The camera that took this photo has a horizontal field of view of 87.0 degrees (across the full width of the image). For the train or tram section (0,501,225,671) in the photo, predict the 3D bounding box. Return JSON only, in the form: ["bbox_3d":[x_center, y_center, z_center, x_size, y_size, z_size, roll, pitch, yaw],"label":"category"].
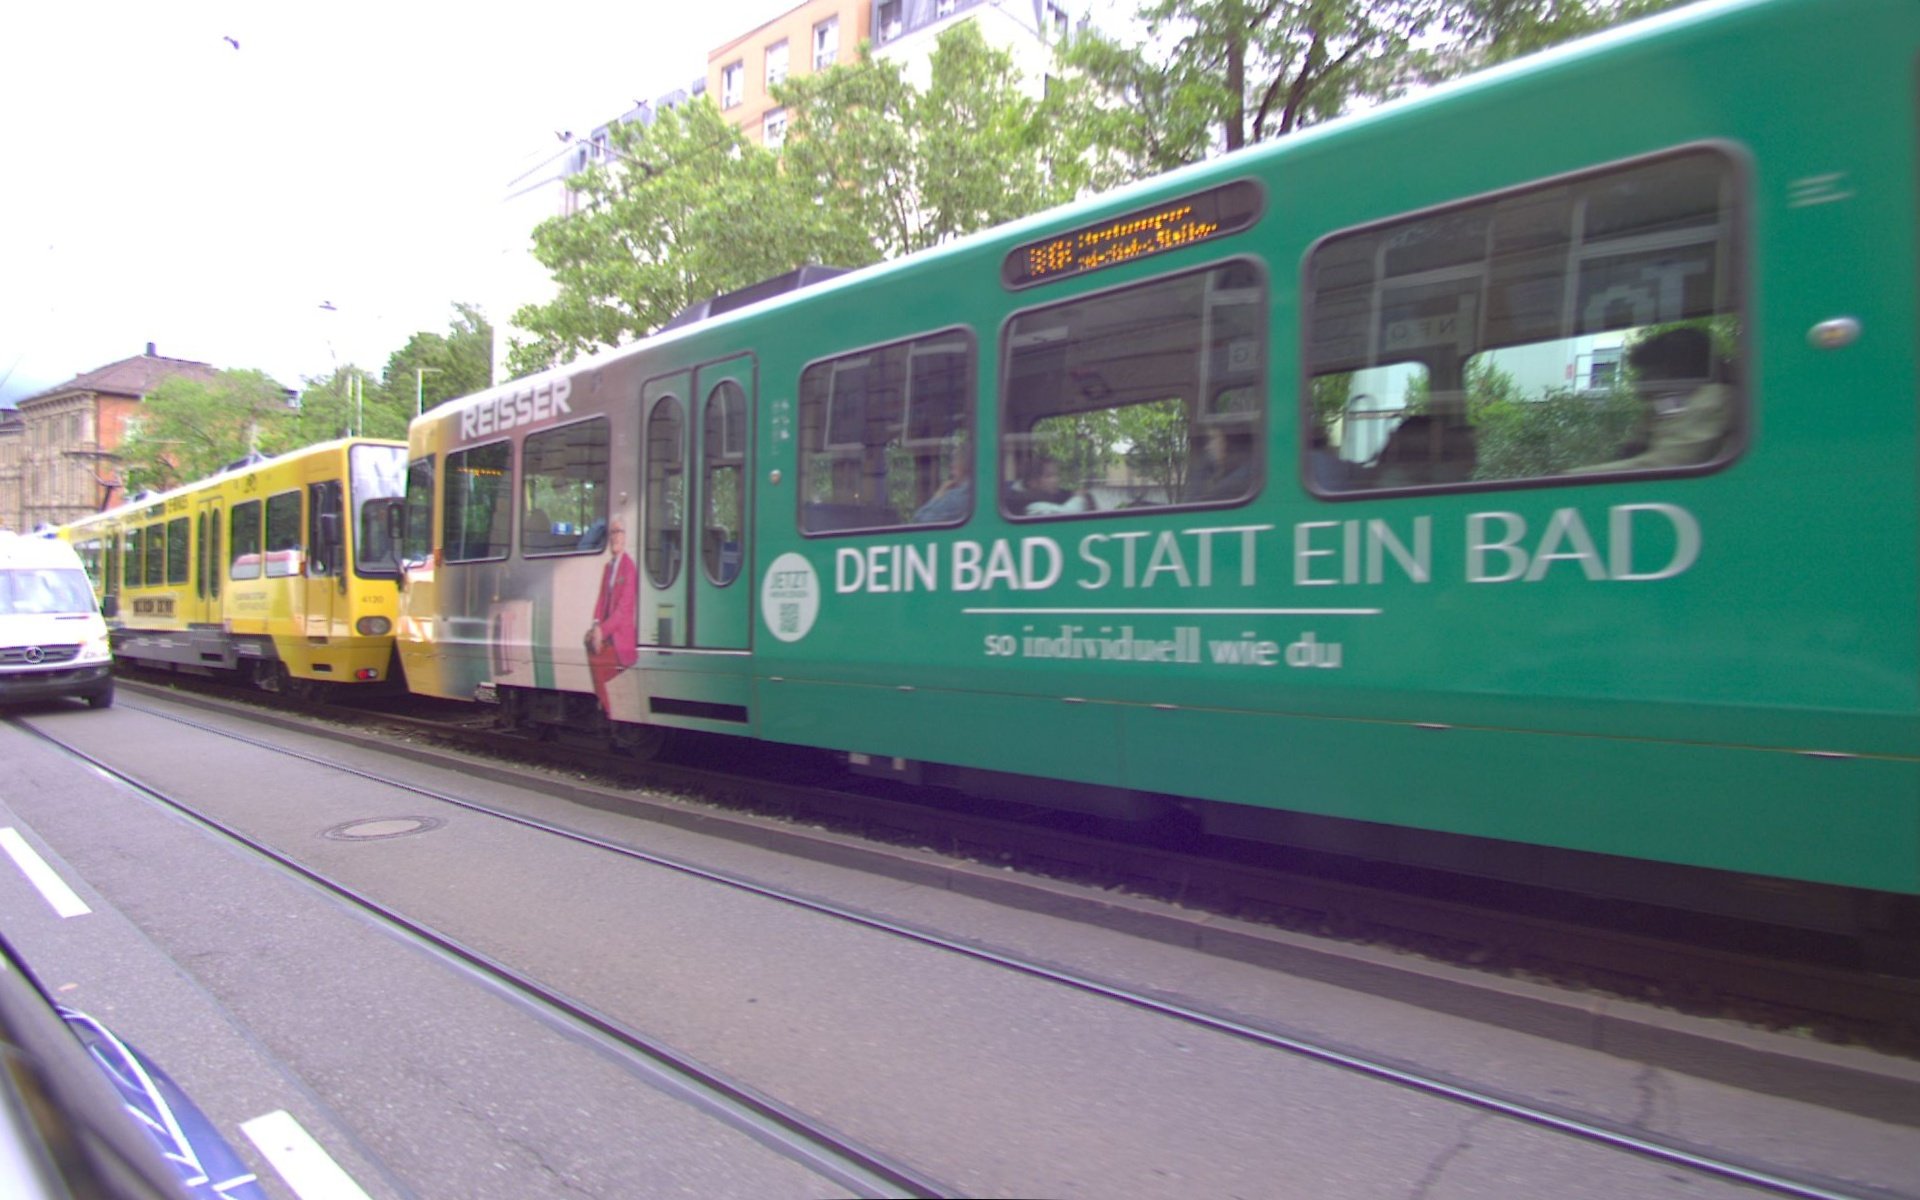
[{"bbox_3d":[-24.498,-0.275,28.273,14.844,3.753,2.854,-1,1,40],"label":"train or tram section"}]

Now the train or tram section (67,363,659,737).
[{"bbox_3d":[-11.708,-0.447,17.369,18.691,3.753,2.847,-1,1,41],"label":"train or tram section"}]

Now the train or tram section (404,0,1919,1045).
[{"bbox_3d":[2.554,-0.611,4.989,18.745,3.753,2.847,-1,1,41],"label":"train or tram section"}]

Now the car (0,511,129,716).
[{"bbox_3d":[-14.784,0.226,15.539,5.848,2.720,2.013,-1,0,40],"label":"car"}]

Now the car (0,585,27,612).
[{"bbox_3d":[-60.617,-0.089,63.715,3.991,1.667,1.976,-1,0,35],"label":"car"}]
